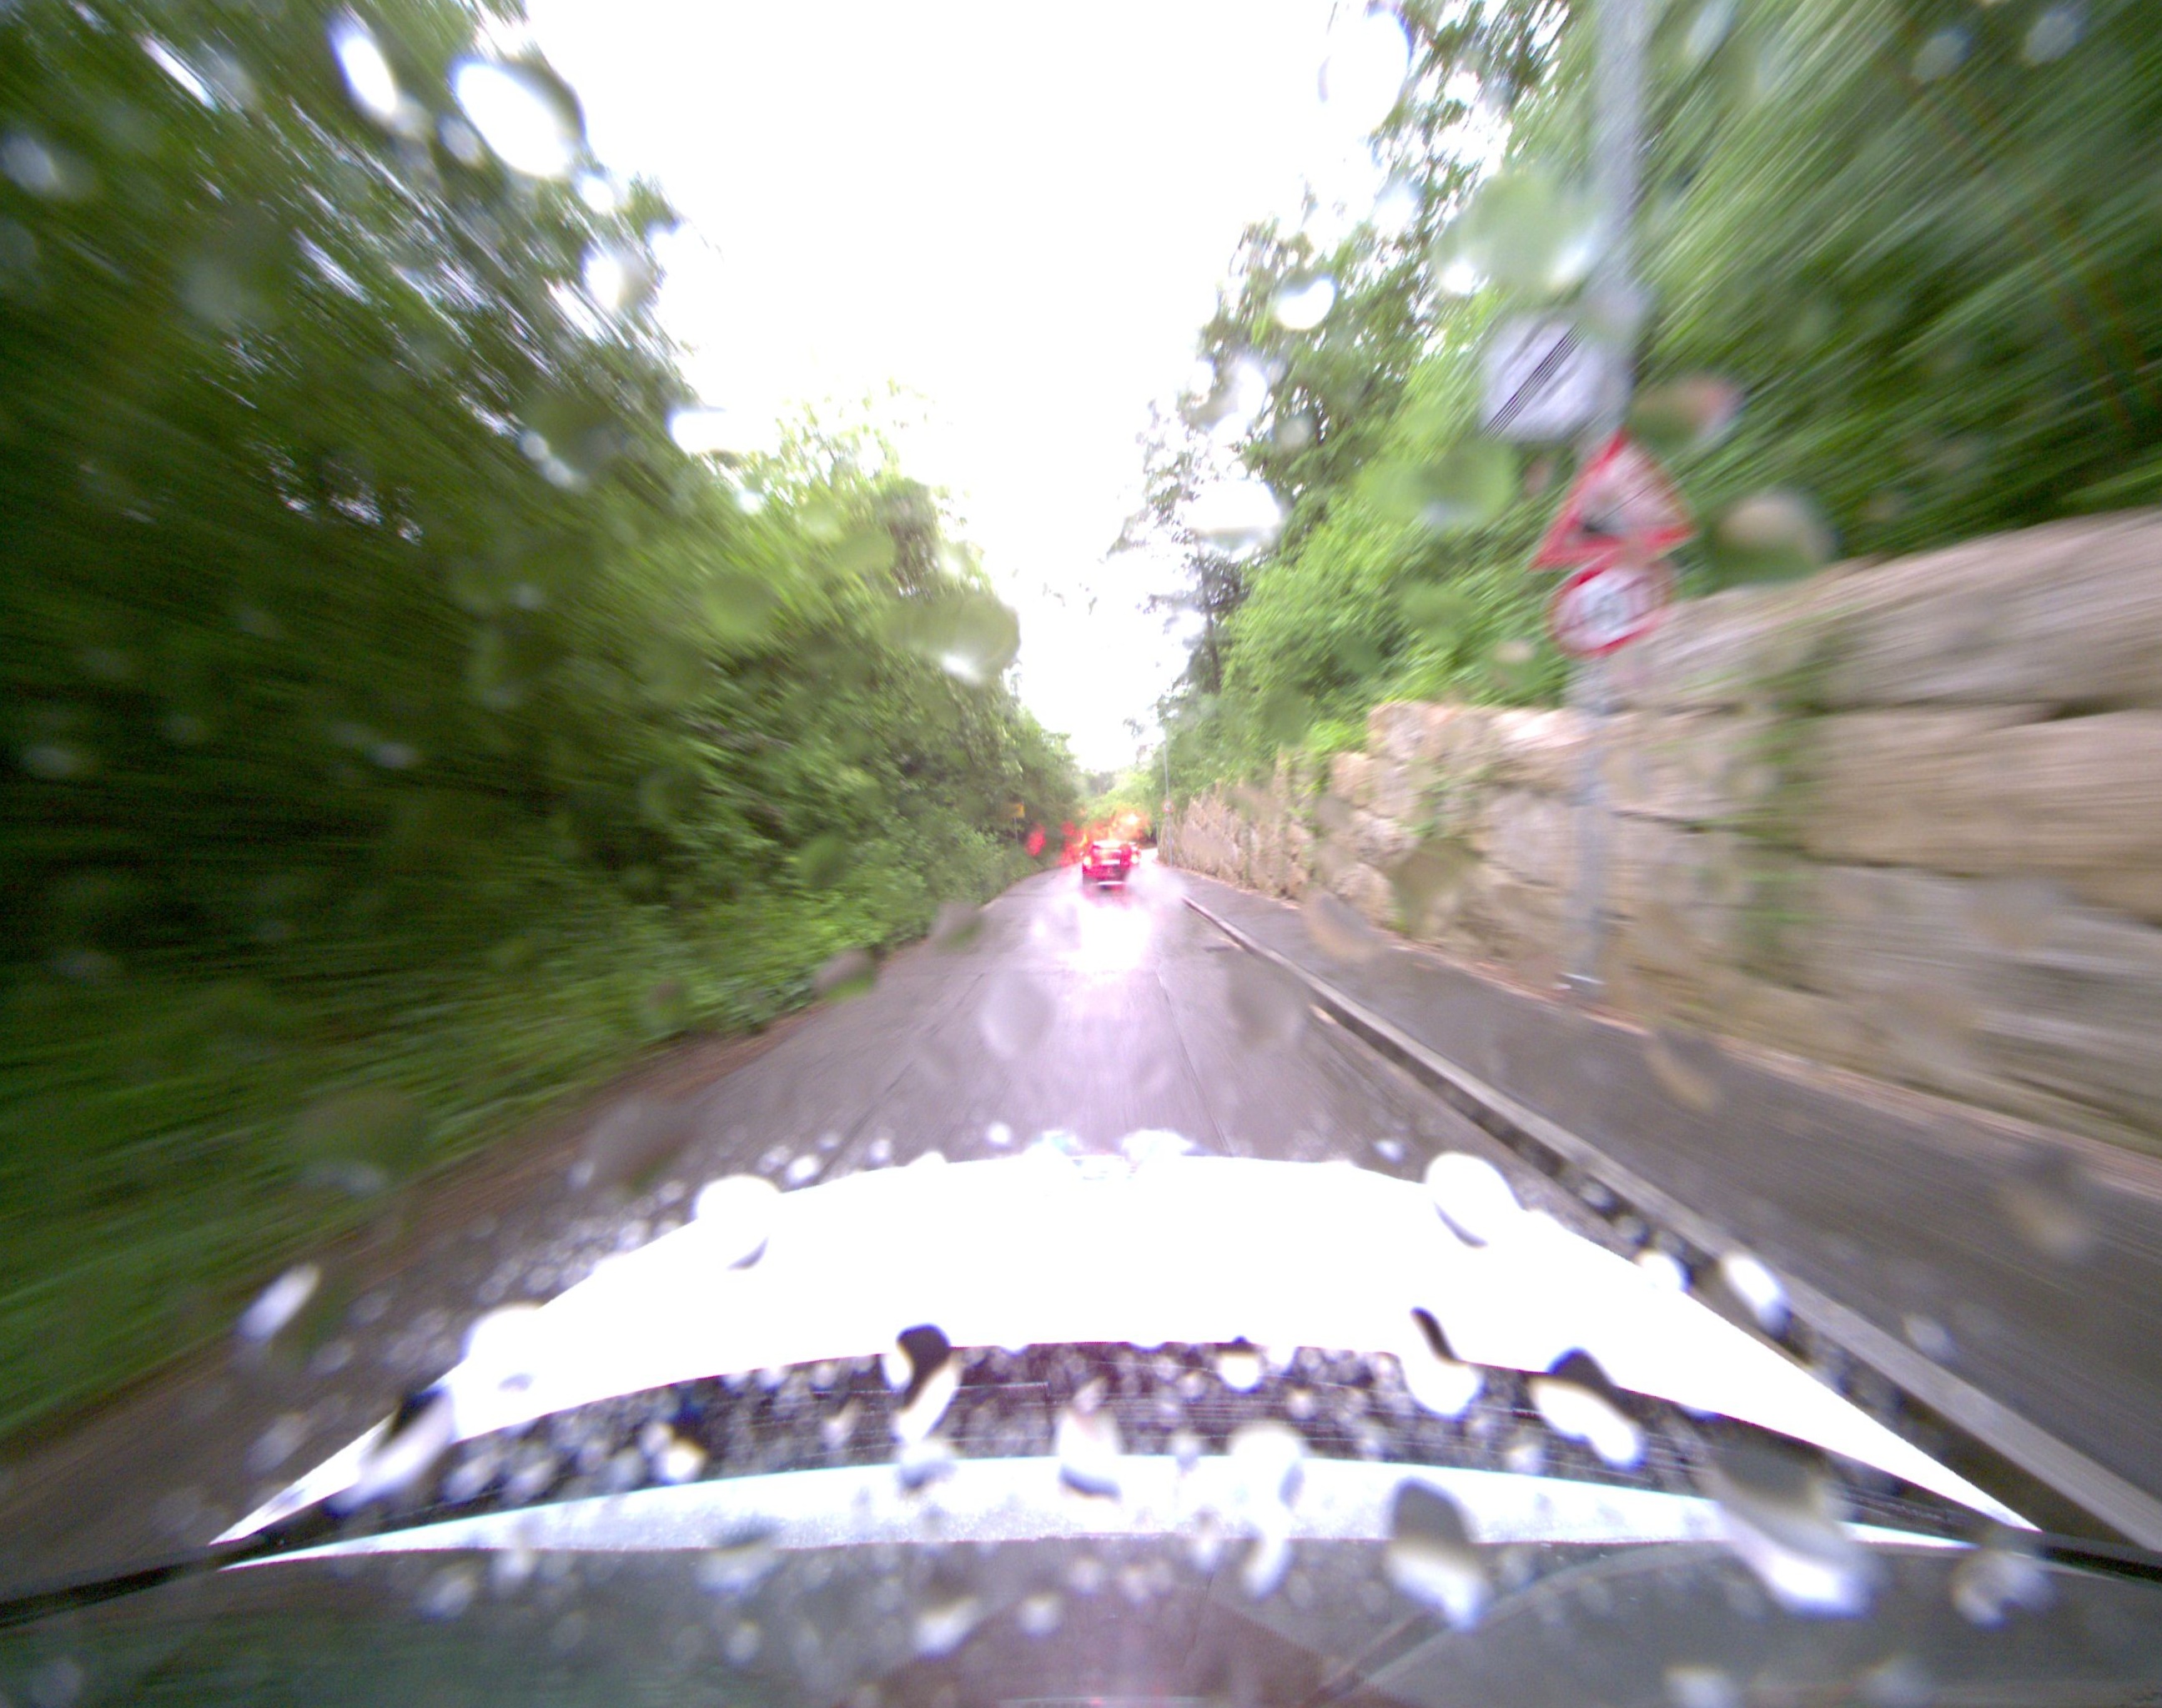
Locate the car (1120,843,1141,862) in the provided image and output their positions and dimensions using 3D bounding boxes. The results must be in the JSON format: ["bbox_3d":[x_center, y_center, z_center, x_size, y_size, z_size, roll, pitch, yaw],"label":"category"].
[{"bbox_3d":[4.723,-0.164,77.947,1.856,1.743,4.001,-1,1,1],"label":"car"}]

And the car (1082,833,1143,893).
[{"bbox_3d":[0.916,0.206,25.860,1.694,1.449,4.001,-3,4,0],"label":"car"}]
